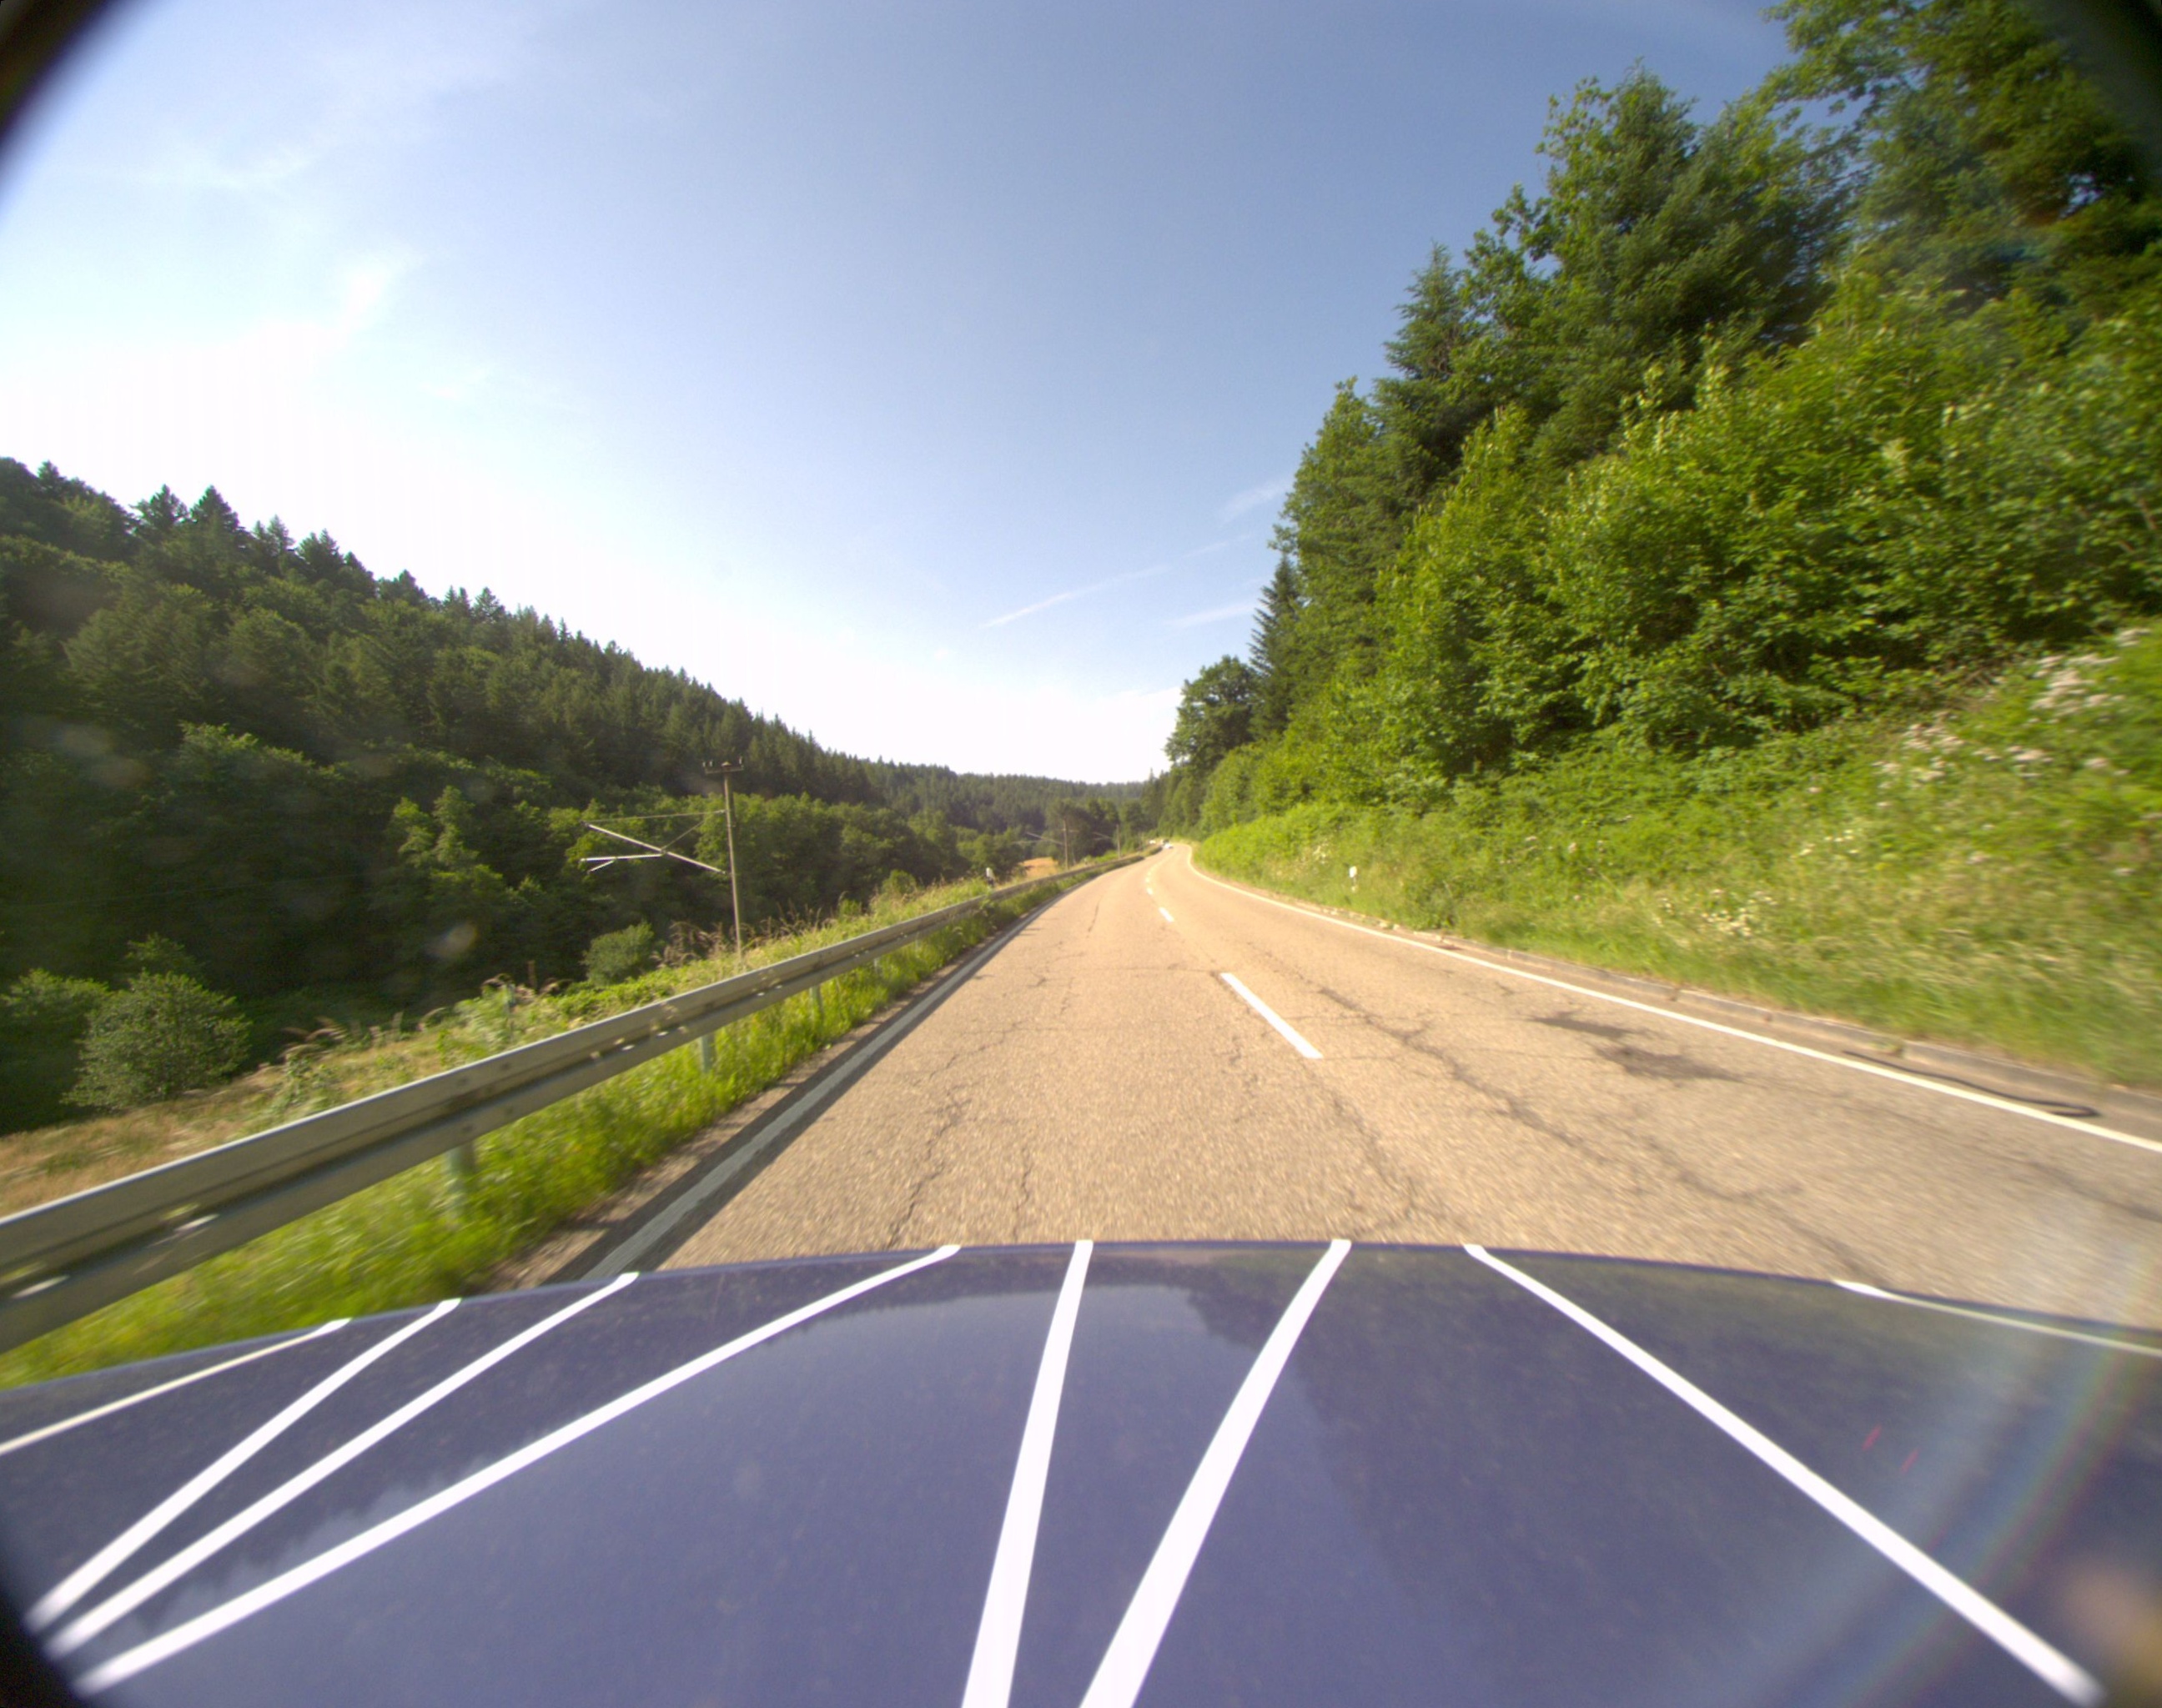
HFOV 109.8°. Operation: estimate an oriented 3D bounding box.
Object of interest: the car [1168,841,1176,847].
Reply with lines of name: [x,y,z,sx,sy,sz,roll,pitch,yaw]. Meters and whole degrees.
car: [23.825,-2.639,198.555,1.703,1.543,3.788,-4,1,1]
